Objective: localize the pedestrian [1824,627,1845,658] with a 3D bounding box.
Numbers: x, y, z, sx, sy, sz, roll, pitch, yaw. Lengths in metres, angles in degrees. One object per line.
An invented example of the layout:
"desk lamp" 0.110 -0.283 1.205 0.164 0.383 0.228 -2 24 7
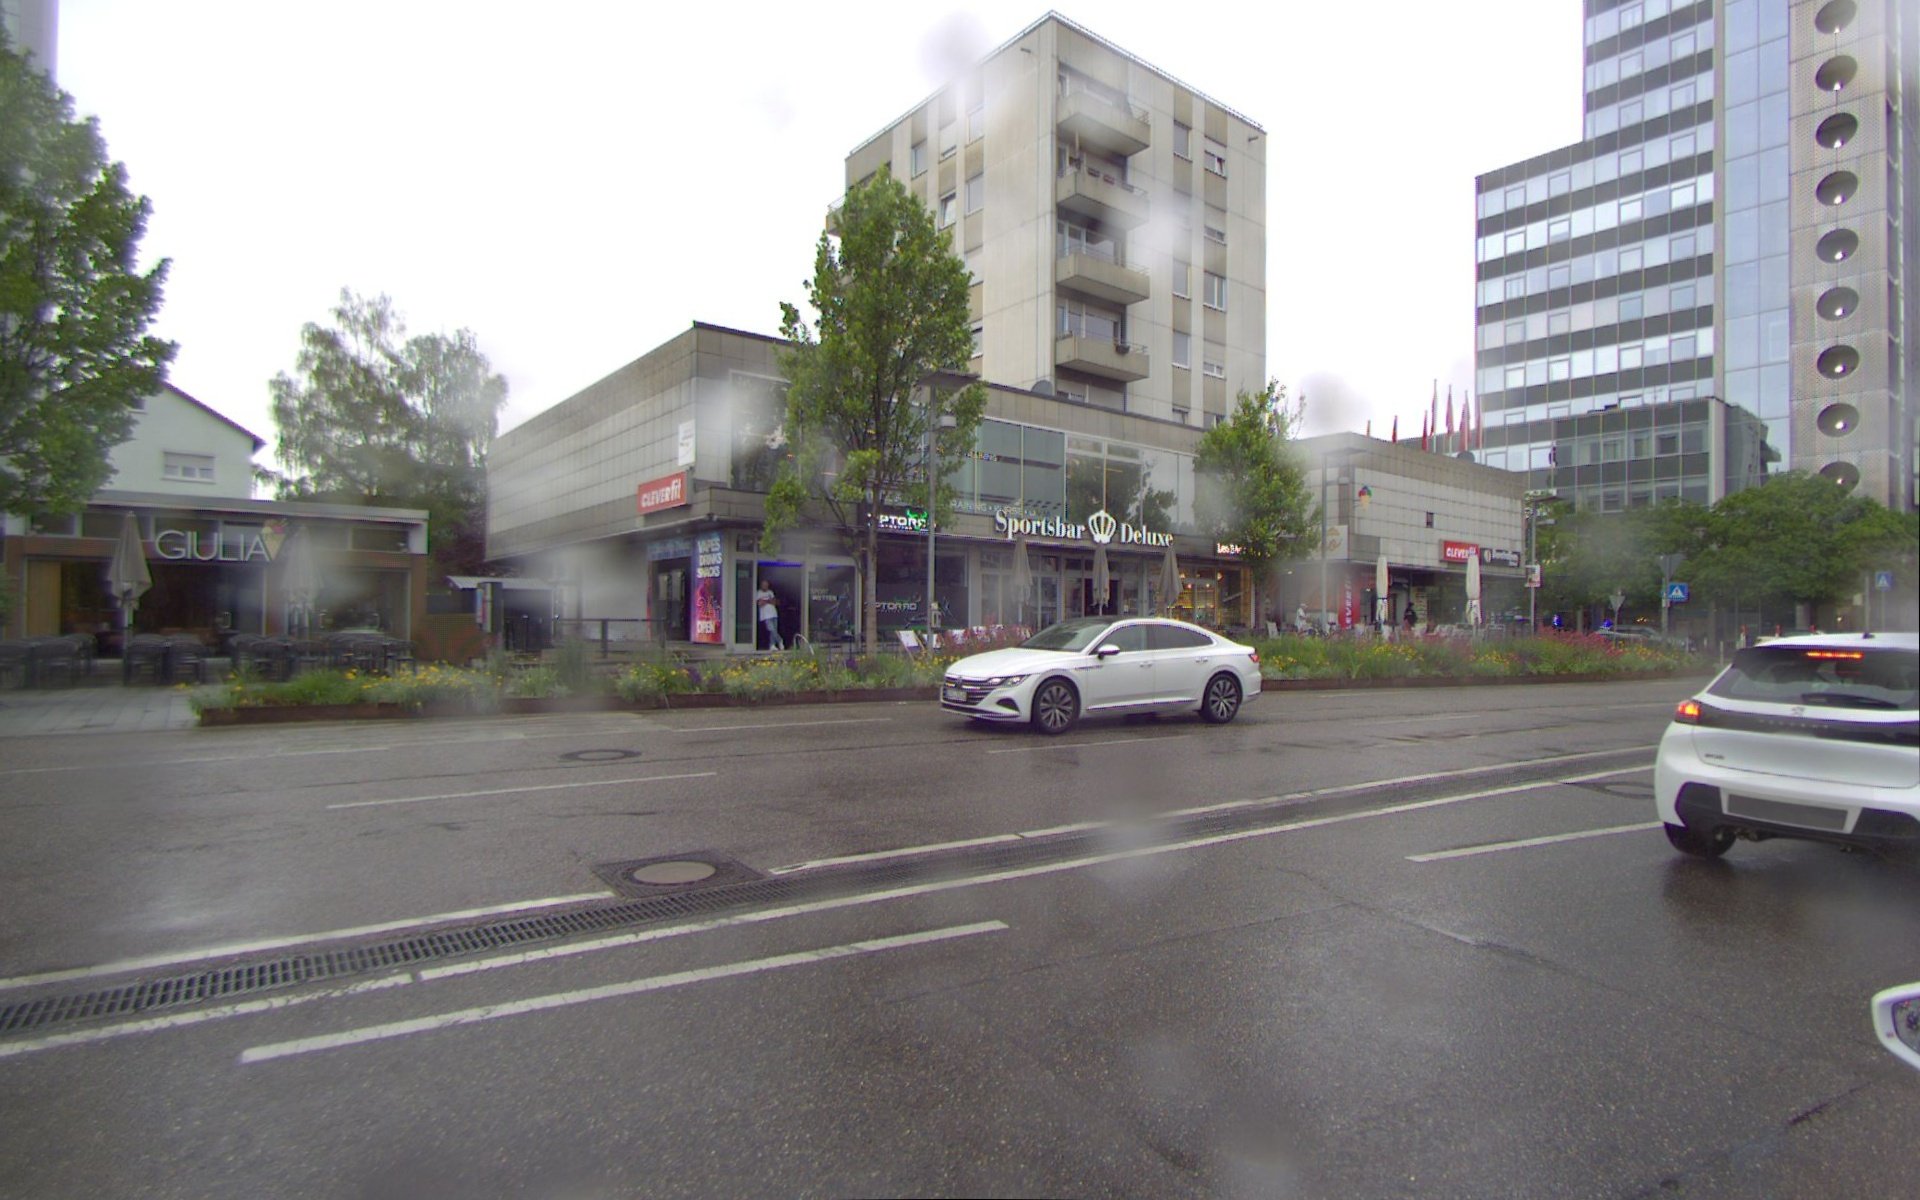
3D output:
"pedestrian" 54.045 2.617 62.113 0.739 1.892 0.833 0 -2 24

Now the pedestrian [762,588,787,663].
"pedestrian" -4.704 0.639 25.451 0.495 1.872 0.424 1 -1 -28

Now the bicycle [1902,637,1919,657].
"bicycle" 61.424 3.018 63.834 0.671 1.263 2.254 2 -2 -40

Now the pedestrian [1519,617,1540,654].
"pedestrian" 21.740 1.348 38.335 0.527 1.365 0.497 1 -1 -3

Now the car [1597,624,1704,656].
"car" 34.406 1.964 50.127 1.850 1.439 4.023 1 -1 -32

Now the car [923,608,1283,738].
"car" 2.013 0.894 13.575 4.754 1.480 1.833 1 -1 -31

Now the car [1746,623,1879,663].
"car" 37.569 1.854 44.380 1.851 1.616 4.166 1 -1 -34

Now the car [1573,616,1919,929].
"car" 6.014 0.878 6.356 3.821 1.481 1.866 1 -1 -25

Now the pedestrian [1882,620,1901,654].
"pedestrian" 56.258 2.243 60.678 0.708 2.040 0.756 1 -1 -39

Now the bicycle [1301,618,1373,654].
"bicycle" 13.738 1.293 36.648 0.689 1.239 2.528 1 -1 -35
